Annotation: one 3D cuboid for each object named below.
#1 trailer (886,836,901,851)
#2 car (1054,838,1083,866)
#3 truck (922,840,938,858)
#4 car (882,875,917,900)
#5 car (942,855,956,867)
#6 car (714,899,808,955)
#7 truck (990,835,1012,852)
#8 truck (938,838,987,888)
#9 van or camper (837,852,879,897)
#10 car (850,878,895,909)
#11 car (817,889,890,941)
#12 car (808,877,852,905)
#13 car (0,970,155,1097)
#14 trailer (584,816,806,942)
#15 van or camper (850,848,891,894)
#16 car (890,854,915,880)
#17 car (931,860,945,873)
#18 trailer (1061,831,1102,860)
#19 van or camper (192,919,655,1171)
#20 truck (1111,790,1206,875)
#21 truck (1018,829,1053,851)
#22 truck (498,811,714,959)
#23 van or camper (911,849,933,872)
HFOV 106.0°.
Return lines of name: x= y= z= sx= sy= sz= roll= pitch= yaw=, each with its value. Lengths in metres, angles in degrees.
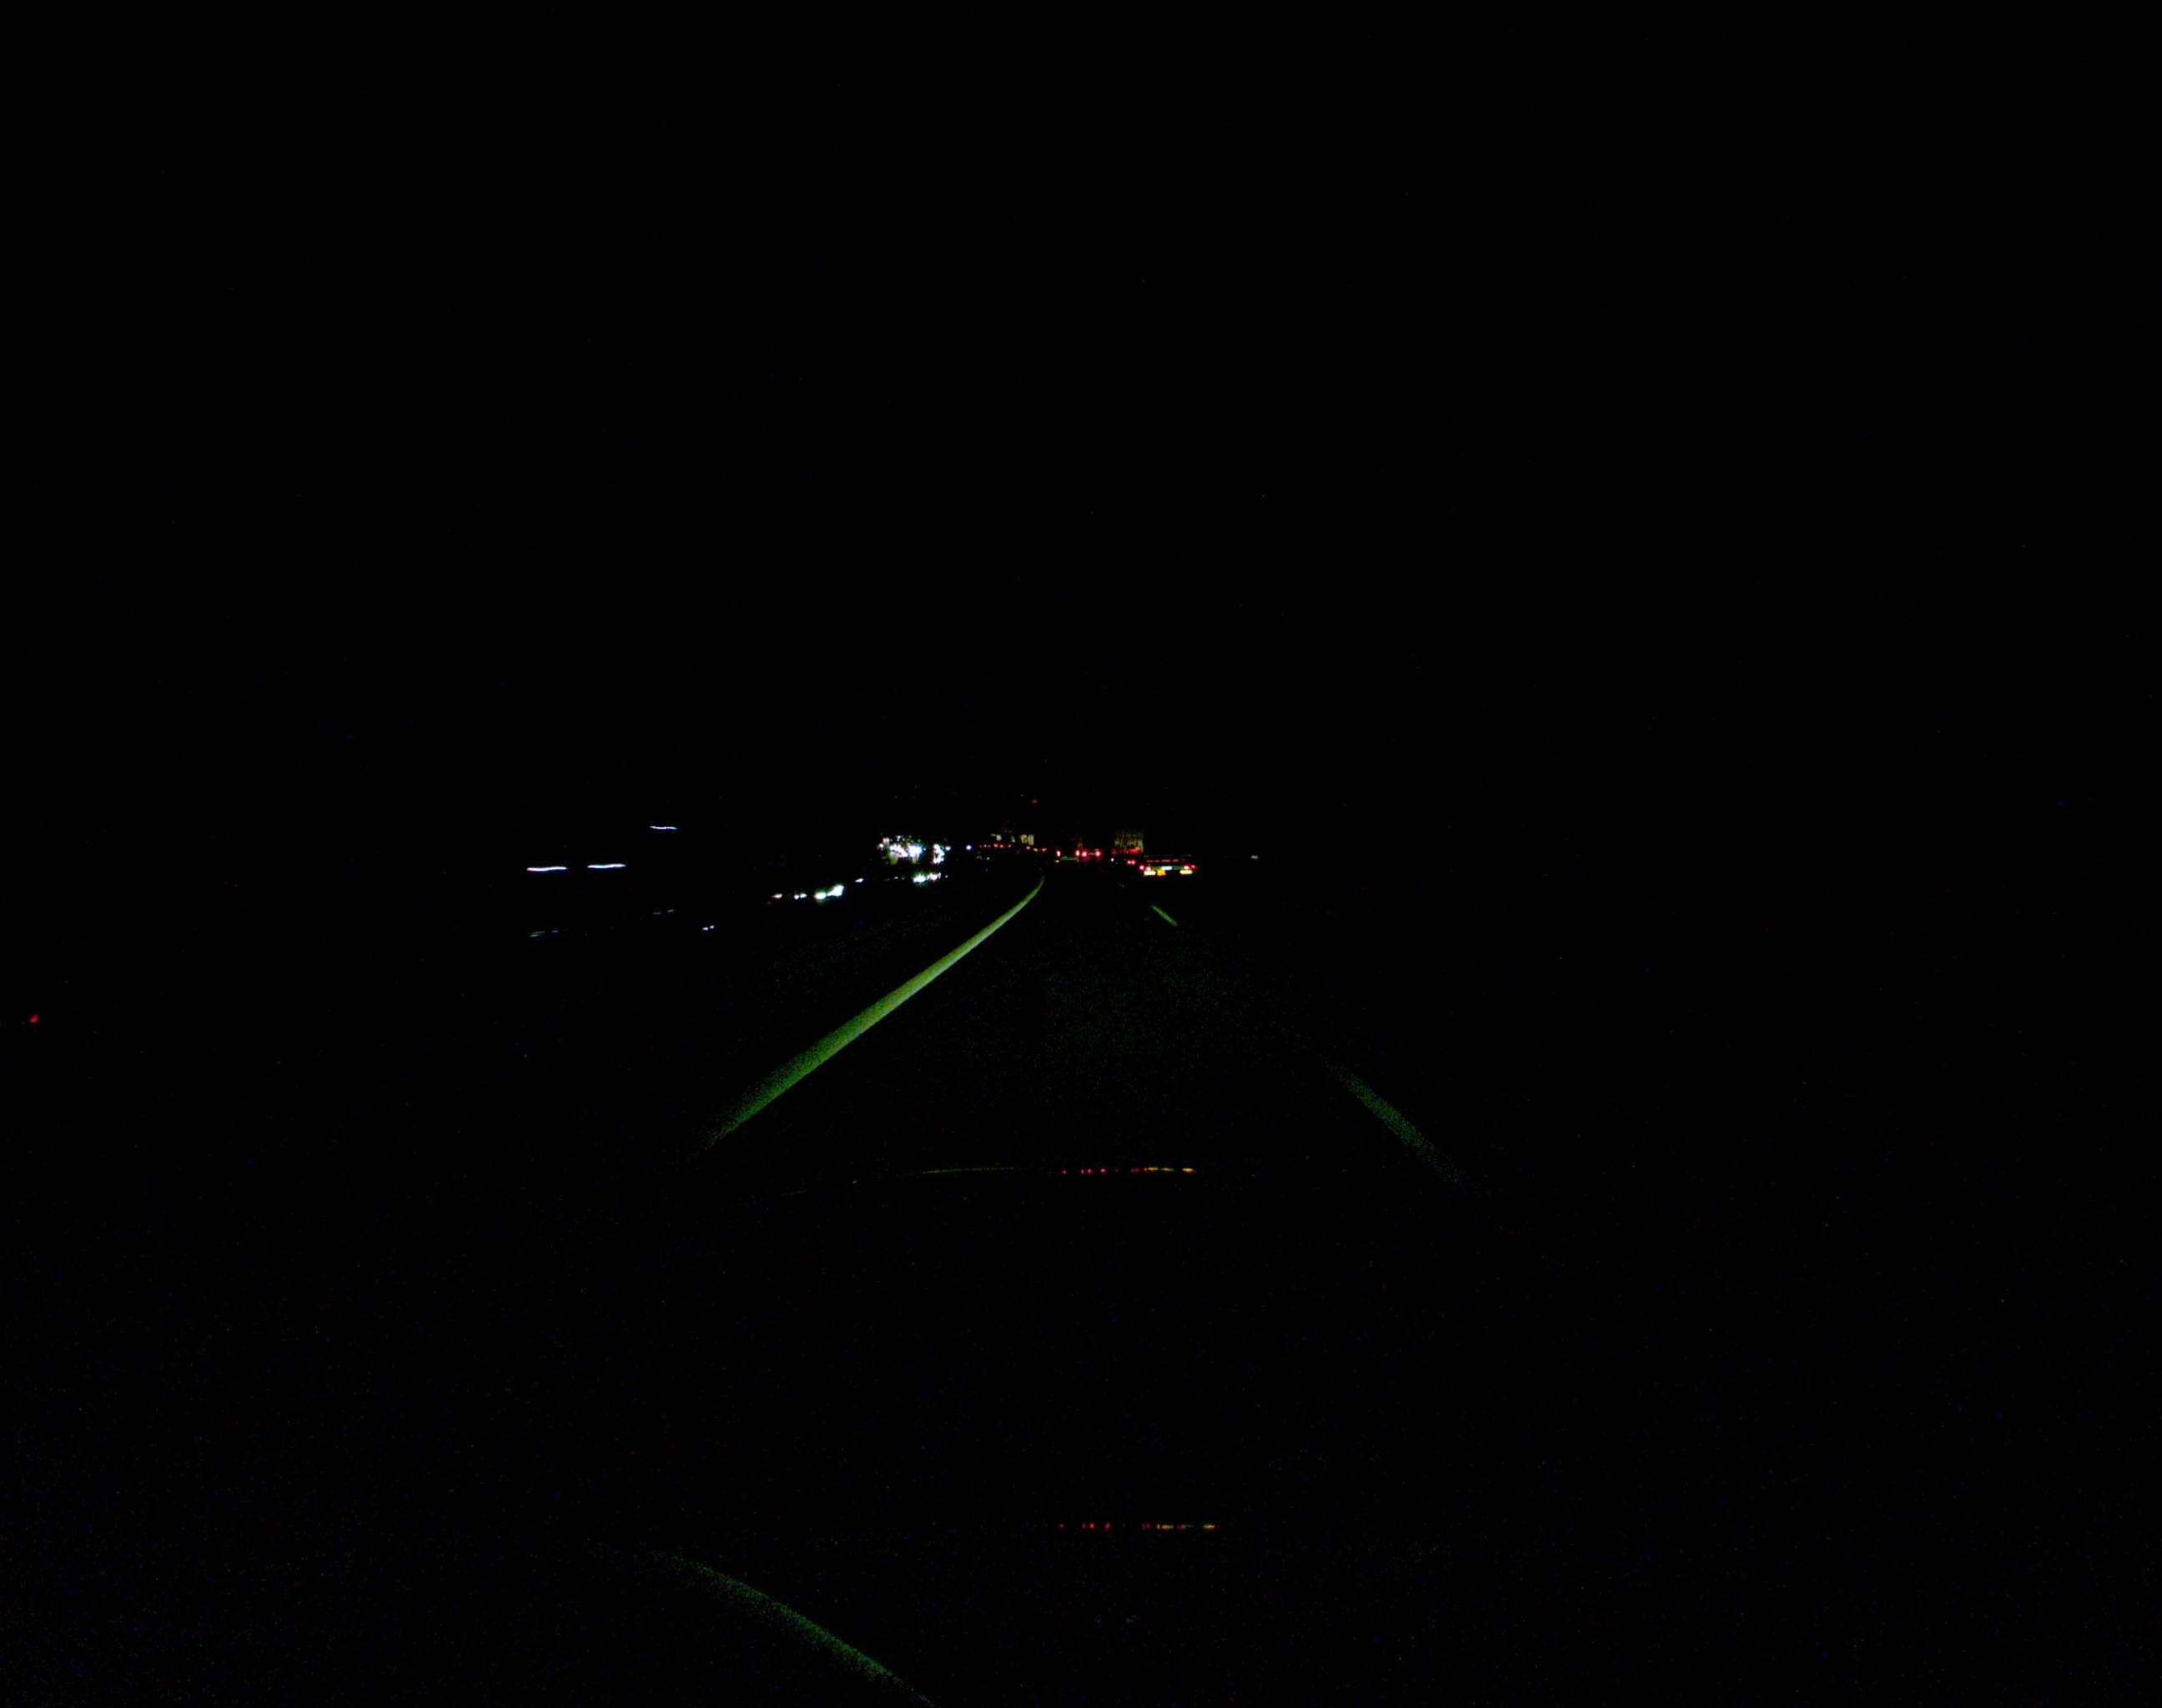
trailer: x=-55.742 y=-3.297 z=241.924 sx=2.848 sy=4.170 sz=13.203 roll=-4 pitch=3 yaw=-18
car: x=-1.277 y=-0.203 z=78.708 sx=2.334 sy=2.640 sz=5.237 roll=-1 pitch=0 yaw=-6
truck: x=-28.947 y=-0.873 z=155.559 sx=2.379 sy=3.259 sz=7.687 roll=-3 pitch=1 yaw=-14
car: x=-12.179 y=2.219 z=54.787 sx=1.597 sy=1.442 sz=4.133 roll=-2 pitch=0 yaw=-4
car: x=-17.722 y=0.912 z=109.417 sx=1.604 sy=1.479 sz=4.065 roll=-3 pitch=0 yaw=-6
car: x=-10.873 y=2.447 z=28.008 sx=1.596 sy=1.442 sz=4.380 roll=-2 pitch=0 yaw=-2
truck: x=-22.312 y=-3.071 z=226.997 sx=3.352 sy=4.475 sz=13.832 roll=1 pitch=1 yaw=-17
truck: x=-8.978 y=0.641 z=62.650 sx=2.647 sy=3.591 sz=8.546 roll=-1 pitch=0 yaw=-1
van or camper: x=-16.059 y=1.391 z=58.863 sx=1.832 sy=2.971 sz=6.386 roll=-2 pitch=0 yaw=-6
car: x=-11.569 y=2.151 z=45.472 sx=1.597 sy=1.442 sz=3.996 roll=-2 pitch=0 yaw=-3
car: x=-7.978 y=2.102 z=28.922 sx=1.597 sy=1.442 sz=3.996 roll=-2 pitch=0 yaw=-3
car: x=-15.556 y=2.273 z=50.678 sx=1.597 sy=1.442 sz=3.996 roll=-2 pitch=0 yaw=-3
car: x=-15.201 y=2.528 z=10.553 sx=1.593 sy=1.442 sz=4.006 roll=-1 pitch=0 yaw=6
trailer: x=-15.662 y=0.861 z=34.874 sx=3.426 sy=4.240 sz=12.825 roll=-3 pitch=0 yaw=-1
van or camper: x=-16.820 y=1.302 z=65.404 sx=2.267 sy=3.379 sz=5.682 roll=-2 pitch=0 yaw=-7
car: x=-17.811 y=1.270 z=81.507 sx=1.832 sy=2.370 sz=5.435 roll=-2 pitch=0 yaw=-6
car: x=-23.953 y=2.054 z=136.122 sx=1.995 sy=1.959 sz=4.966 roll=-3 pitch=0 yaw=-12
trailer: x=-0.090 y=-1.470 z=123.158 sx=2.859 sy=4.066 sz=13.139 roll=-2 pitch=2 yaw=-15
van or camper: x=-7.672 y=2.065 z=10.312 sx=2.023 sy=2.013 sz=4.576 roll=-2 pitch=0 yaw=1
truck: x=4.135 y=-1.026 z=49.162 sx=3.473 sy=4.135 sz=18.697 roll=-1 pitch=0 yaw=-1
truck: x=-10.749 y=-3.160 z=187.650 sx=3.921 sy=4.626 sz=20.916 roll=-3 pitch=2 yaw=-14
truck: x=-15.519 y=0.916 z=27.336 sx=3.409 sy=4.223 sz=6.279 roll=-3 pitch=0 yaw=-1
van or camper: x=-20.756 y=0.846 z=106.796 sx=2.444 sy=2.760 sz=6.469 roll=-2 pitch=0 yaw=-9
